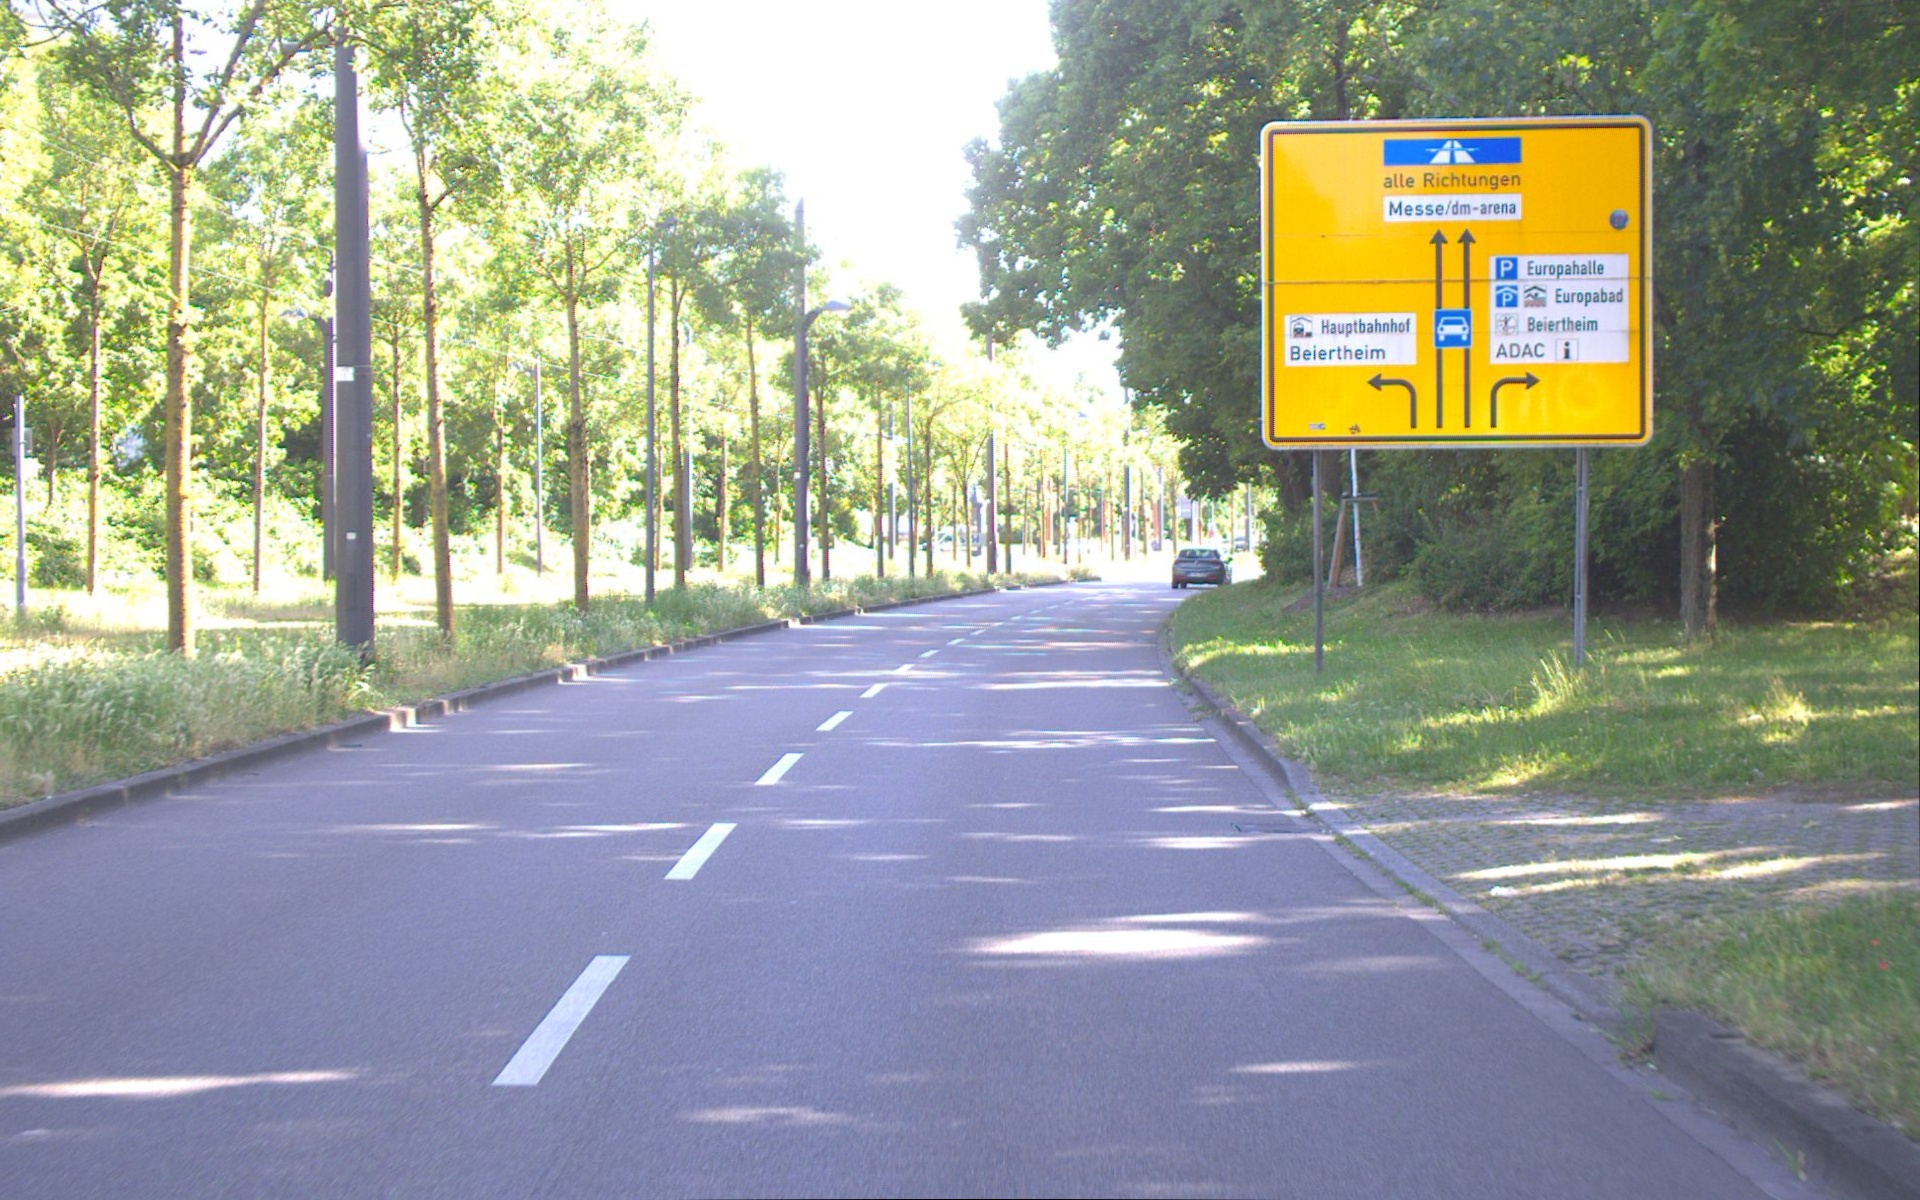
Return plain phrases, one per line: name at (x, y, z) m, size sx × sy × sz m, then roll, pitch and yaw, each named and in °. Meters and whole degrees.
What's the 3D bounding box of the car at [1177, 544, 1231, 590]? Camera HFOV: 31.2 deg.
car at (8.297, -1.140, 116.491) m, size 1.634 × 1.493 × 4.234 m, roll 1°, pitch 1°, yaw 7°
